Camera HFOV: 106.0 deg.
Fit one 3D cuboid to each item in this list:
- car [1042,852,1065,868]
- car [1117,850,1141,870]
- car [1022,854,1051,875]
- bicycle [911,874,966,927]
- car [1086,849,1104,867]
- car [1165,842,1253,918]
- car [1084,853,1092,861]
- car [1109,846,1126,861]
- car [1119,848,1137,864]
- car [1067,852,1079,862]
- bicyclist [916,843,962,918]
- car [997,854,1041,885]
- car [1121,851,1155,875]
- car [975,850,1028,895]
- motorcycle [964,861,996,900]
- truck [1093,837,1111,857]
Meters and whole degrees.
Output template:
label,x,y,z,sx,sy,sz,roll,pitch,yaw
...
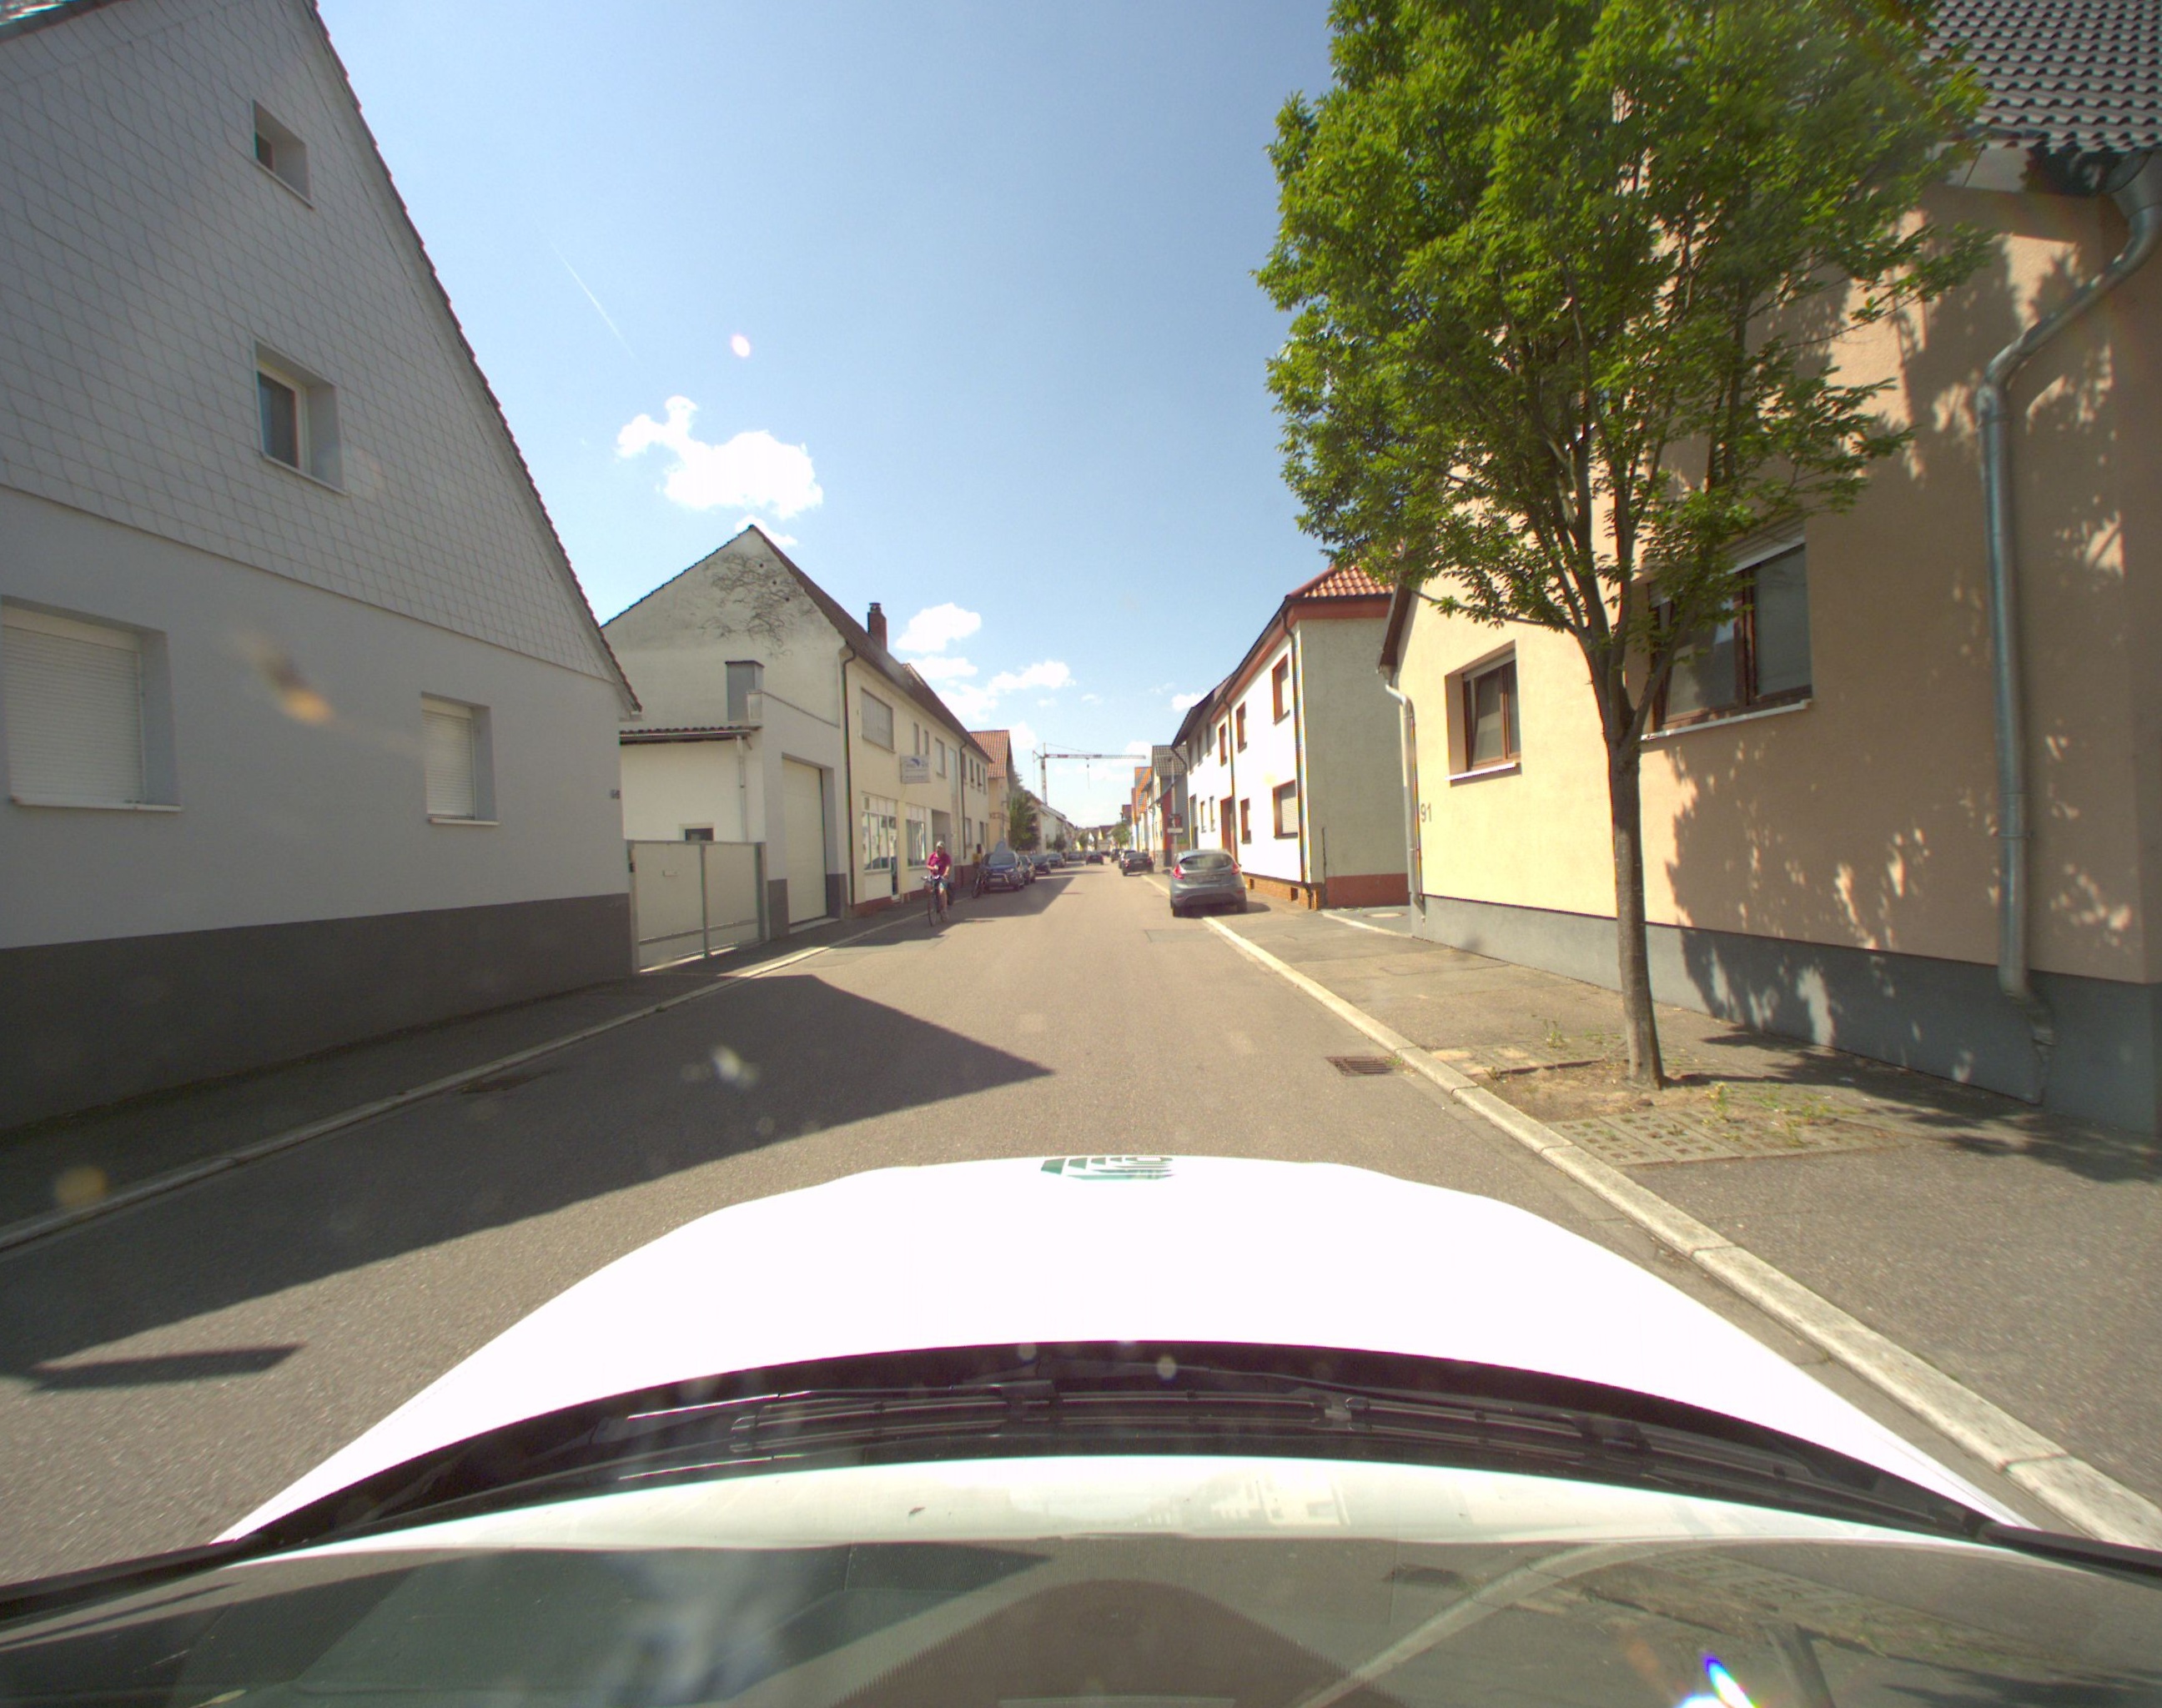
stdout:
label,x,y,z,sx,sy,sz,roll,pitch,yaw
car,-2.677,0.595,79.531,1.761,1.460,4.440,-3,0,3
car,3.783,0.444,64.561,1.682,1.422,3.658,-3,0,1
car,-3.157,0.723,58.550,1.755,1.374,4.067,-2,0,1
bicycle,-3.215,1.034,18.556,0.739,1.047,1.942,-2,0,5
car,1.440,0.409,85.015,1.777,1.753,4.000,-4,0,0
car,2.952,0.557,19.496,1.713,1.481,3.755,-6,0,5
car,1.492,0.669,175.065,1.716,1.555,4.174,-1,0,2
car,4.313,-0.035,97.032,1.723,1.717,4.274,-3,0,-1
car,4.870,0.172,84.840,1.611,1.495,3.972,-5,0,1
car,-1.203,0.428,128.967,1.752,1.525,4.289,-3,0,1
bicyclist,-3.230,0.590,18.582,0.743,1.637,0.957,-2,0,4
car,-3.056,0.726,41.004,1.691,1.411,4.391,-2,0,2
car,3.308,0.490,47.880,1.809,1.275,4.149,-2,0,2
car,-3.268,0.724,34.196,1.712,1.639,4.148,-4,0,0
motorcycle,-3.673,0.931,29.744,0.805,1.312,2.106,-2,0,1
truck,4.522,-1.381,175.862,3.368,3.865,13.924,-4,0,0
